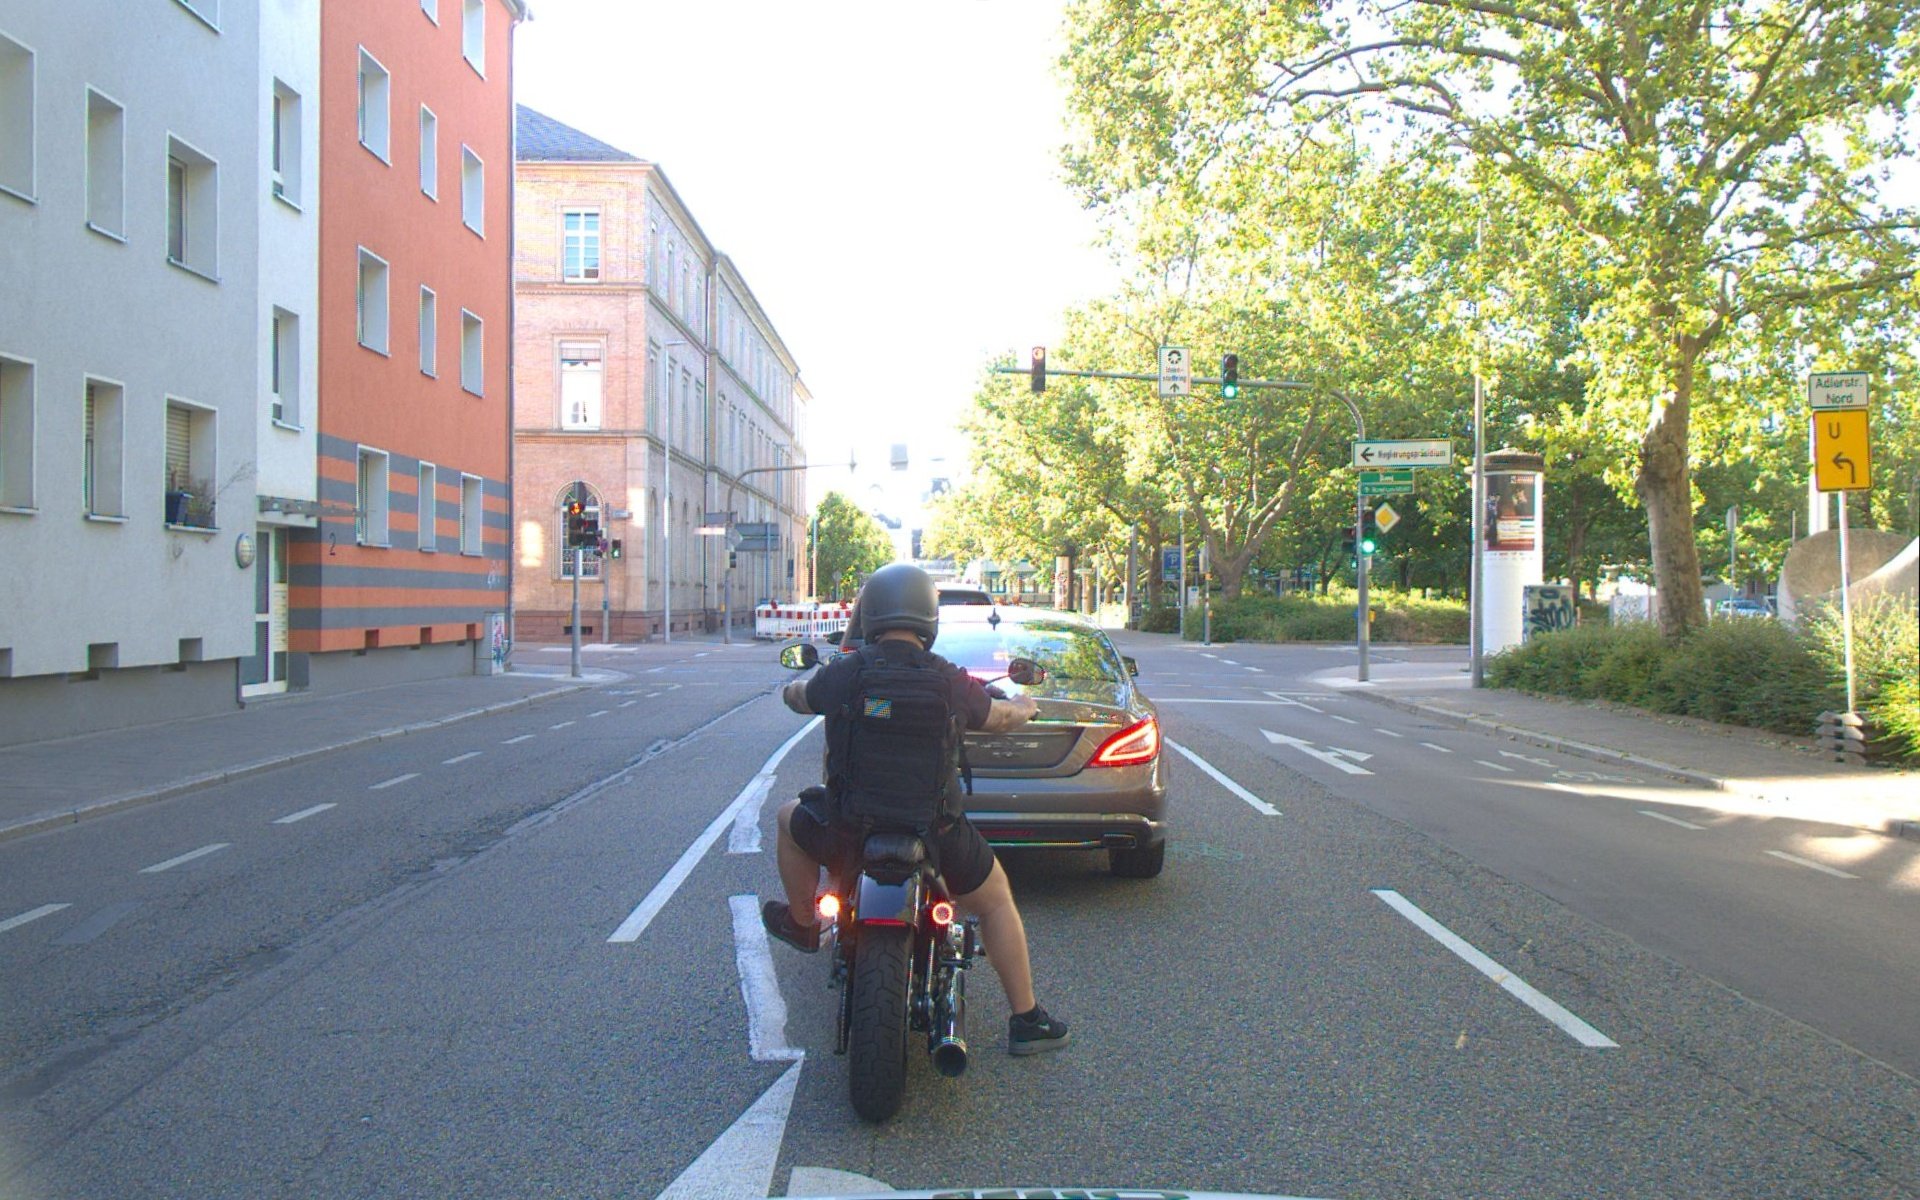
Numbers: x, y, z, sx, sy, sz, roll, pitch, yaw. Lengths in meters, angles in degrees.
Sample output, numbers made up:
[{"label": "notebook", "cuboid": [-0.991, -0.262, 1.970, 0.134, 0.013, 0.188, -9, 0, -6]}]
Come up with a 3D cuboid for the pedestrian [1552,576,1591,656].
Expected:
[{"label": "pedestrian", "cuboid": [13.947, 0.358, 37.734, 0.720, 1.809, 0.730, 1, -1, 12]}]

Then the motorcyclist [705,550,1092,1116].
[{"label": "motorcyclist", "cuboid": [-0.138, 0.663, 5.284, 1.076, 1.593, 1.072, 1, 0, 5]}]

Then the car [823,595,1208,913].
[{"label": "car", "cuboid": [0.237, 0.733, 9.677, 1.785, 1.462, 3.805, 1, 0, -1]}]

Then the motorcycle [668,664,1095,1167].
[{"label": "motorcycle", "cuboid": [-0.125, 0.874, 5.505, 1.094, 1.228, 2.213, 1, 0, 5]}]

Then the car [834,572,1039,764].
[{"label": "car", "cuboid": [-0.237, 0.625, 16.949, 1.825, 1.707, 3.999, 1, 0, -1]}]
